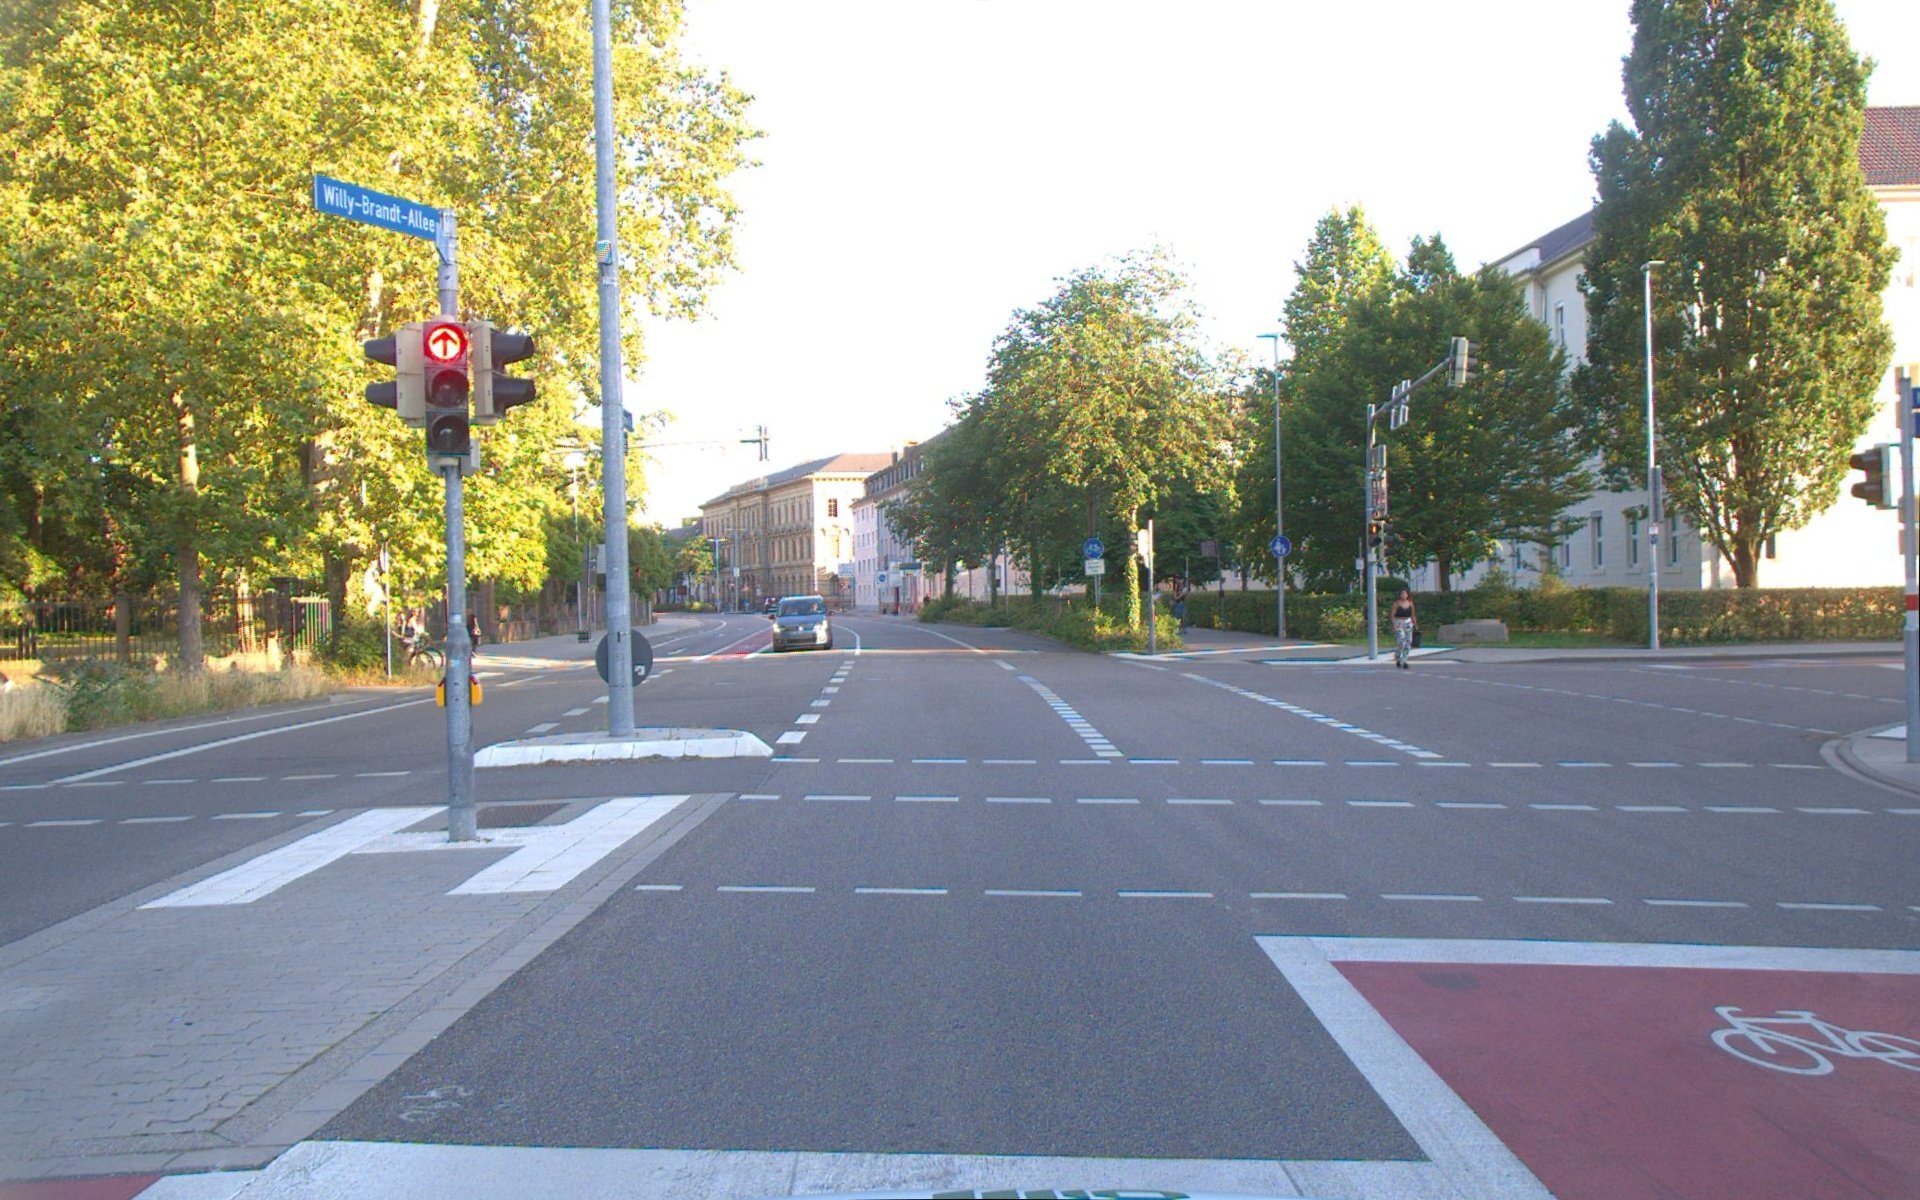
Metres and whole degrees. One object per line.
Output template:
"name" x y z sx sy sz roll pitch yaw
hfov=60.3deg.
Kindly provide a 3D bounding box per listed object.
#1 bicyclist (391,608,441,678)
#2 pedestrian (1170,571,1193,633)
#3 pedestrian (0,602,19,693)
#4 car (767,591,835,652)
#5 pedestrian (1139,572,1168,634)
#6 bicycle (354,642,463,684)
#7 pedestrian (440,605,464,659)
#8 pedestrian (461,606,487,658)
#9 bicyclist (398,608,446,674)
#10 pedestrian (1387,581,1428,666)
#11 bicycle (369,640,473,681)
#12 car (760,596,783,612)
"bicyclist" -13.318 1.040 40.506 0.938 1.659 0.752 -1 0 0
"pedestrian" 7.365 0.081 55.104 0.622 2.049 0.720 0 0 -5
"pedestrian" -22.056 1.084 37.833 0.626 2.049 0.701 -1 0 1
"car" -4.865 0.628 51.101 1.812 1.750 4.294 -1 0 -2
"pedestrian" 6.389 0.096 54.519 0.852 2.049 0.722 0 0 -1
"bicycle" -13.490 1.541 40.505 2.380 0.940 0.775 -1 0 0
"pedestrian" -15.741 0.989 51.275 0.524 1.624 0.590 -1 0 -1
"pedestrian" -15.055 0.985 51.204 0.587 1.601 0.646 -1 0 -1
"bicyclist" -13.723 1.041 42.211 0.938 1.659 0.752 -1 0 0
"pedestrian" 8.927 0.461 33.017 0.588 1.664 0.691 0 0 -5
"bicycle" -13.751 1.541 42.219 2.380 0.940 0.775 -1 0 0
"car" -19.355 0.395 169.877 1.789 1.616 3.984 -2 0 -15
